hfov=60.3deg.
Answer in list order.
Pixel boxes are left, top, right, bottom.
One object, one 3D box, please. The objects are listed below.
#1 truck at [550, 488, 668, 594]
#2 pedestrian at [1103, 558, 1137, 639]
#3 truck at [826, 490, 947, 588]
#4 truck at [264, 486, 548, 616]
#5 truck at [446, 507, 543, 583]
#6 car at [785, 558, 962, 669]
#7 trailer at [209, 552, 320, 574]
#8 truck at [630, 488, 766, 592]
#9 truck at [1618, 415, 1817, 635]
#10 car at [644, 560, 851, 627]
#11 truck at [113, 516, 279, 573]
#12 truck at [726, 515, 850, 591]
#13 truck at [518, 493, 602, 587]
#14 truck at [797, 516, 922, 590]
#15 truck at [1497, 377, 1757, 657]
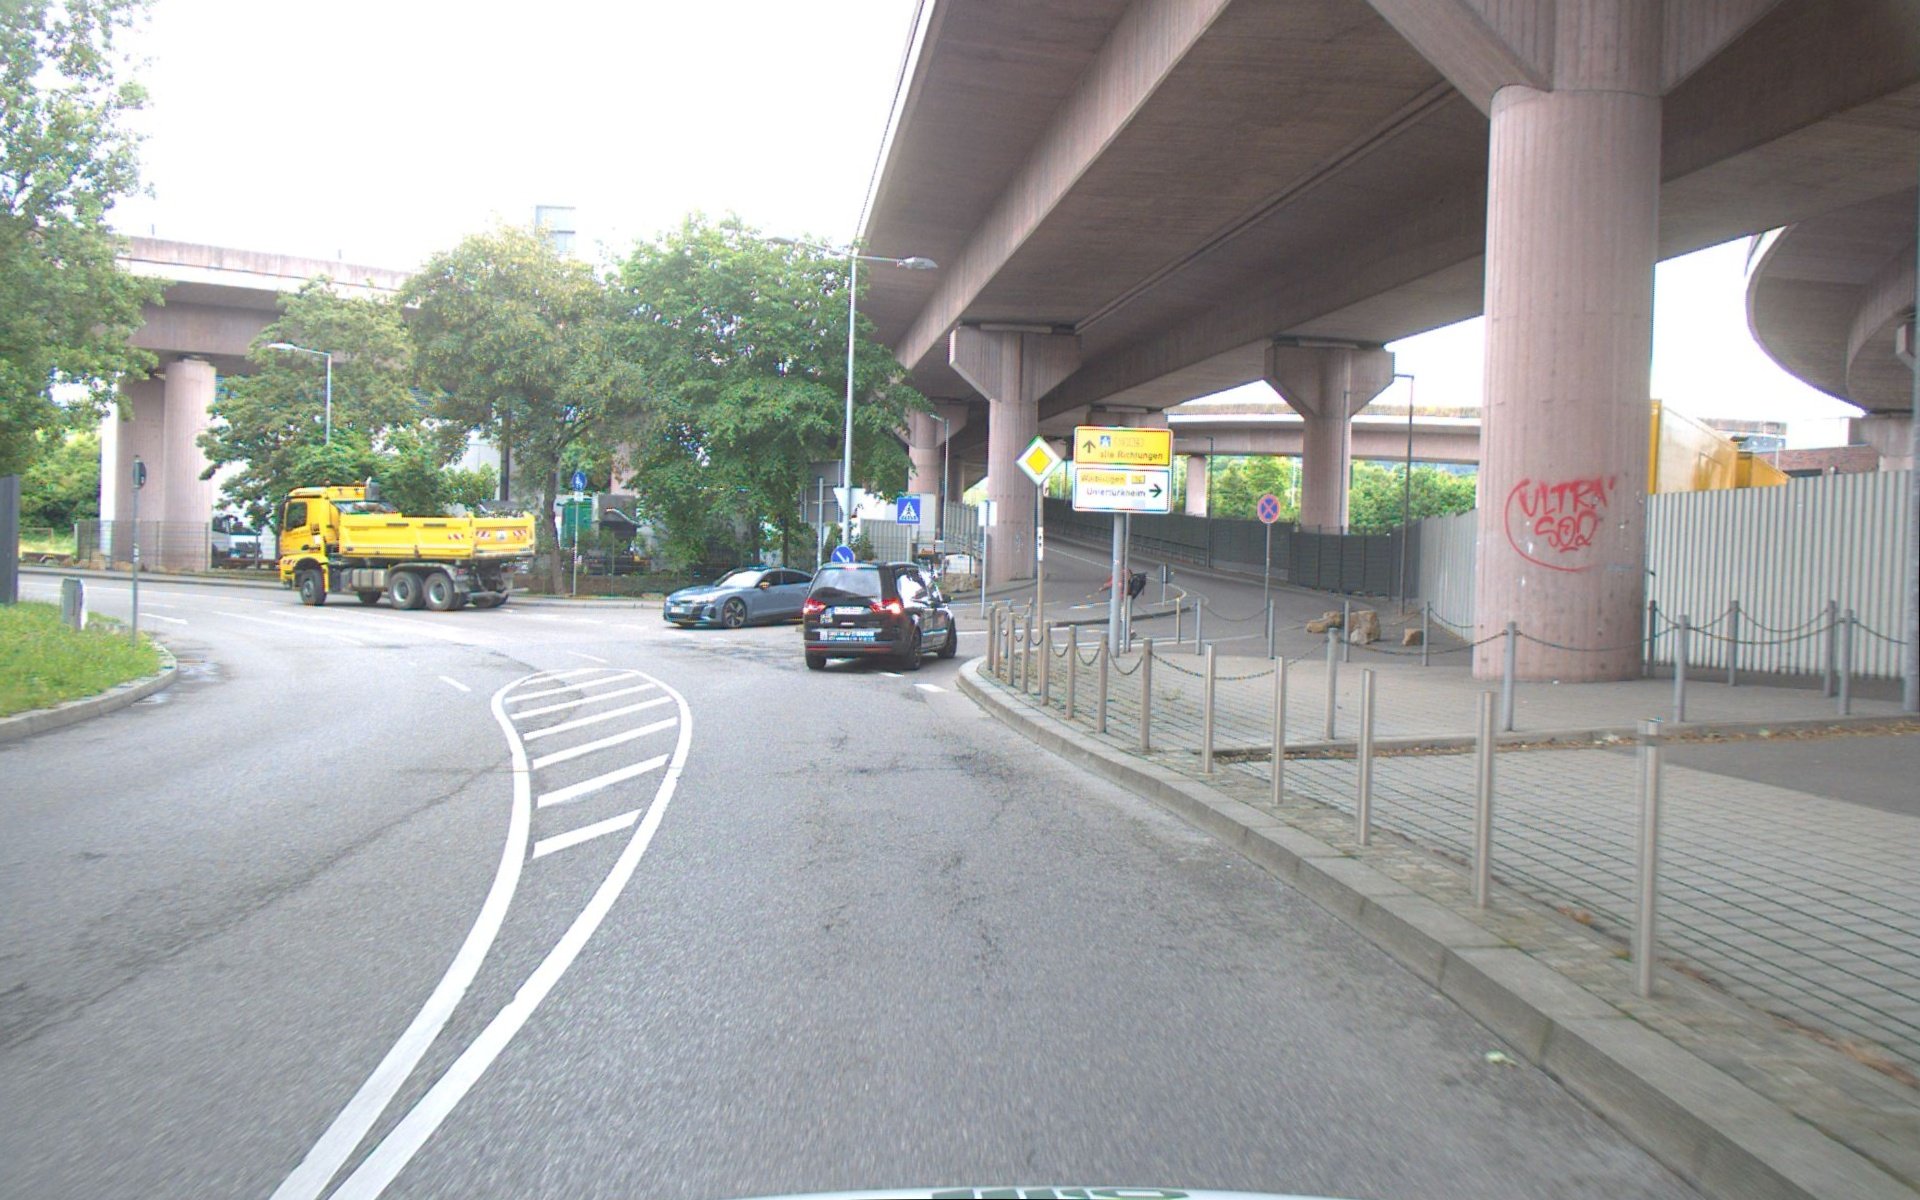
[{"bbox_3d":[-14.176,-2.393,66.399,3.029,4.031,6.866,-2,3,-26],"label":"truck"},{"bbox_3d":[3.396,-0.042,35.110,0.528,1.705,0.555,-1,2,-19],"label":"pedestrian"},{"bbox_3d":[-3.572,-2.926,77.709,3.025,4.373,7.991,0,3,-24],"label":"truck"},{"bbox_3d":[-16.206,-1.531,48.311,8.056,3.541,2.935,2,4,26],"label":"truck"},{"bbox_3d":[-24.198,-2.926,85.750,3.023,3.681,7.838,0,3,-30],"label":"truck"},{"bbox_3d":[-1.345,0.164,27.883,1.951,1.708,4.565,0,1,11],"label":"car"},{"bbox_3d":[-30.492,-1.639,72.389,6.185,0.756,2.143,3,6,43],"label":"trailer"},{"bbox_3d":[-10.682,-2.491,66.721,3.031,3.934,7.976,-1,3,-28],"label":"truck"},{"bbox_3d":[19.390,-1.740,41.991,3.084,4.988,8.688,2,1,34],"label":"truck"},{"bbox_3d":[-5.122,-0.204,40.402,2.134,1.528,4.905,1,2,40],"label":"car"},{"bbox_3d":[-36.118,-2.614,78.187,7.055,2.596,2.727,1,1,16],"label":"truck"},{"bbox_3d":[-7.232,-2.020,68.699,2.882,2.949,6.499,-1,3,-28],"label":"truck"},{"bbox_3d":[-21.813,-3.323,89.807,3.160,4.862,7.993,0,3,-23],"label":"truck"},{"bbox_3d":[-4.355,-2.060,70.471,2.882,2.949,6.499,-1,3,-28],"label":"truck"},{"bbox_3d":[13.912,-1.519,33.985,3.084,5.003,8.688,2,1,34],"label":"truck"}]
